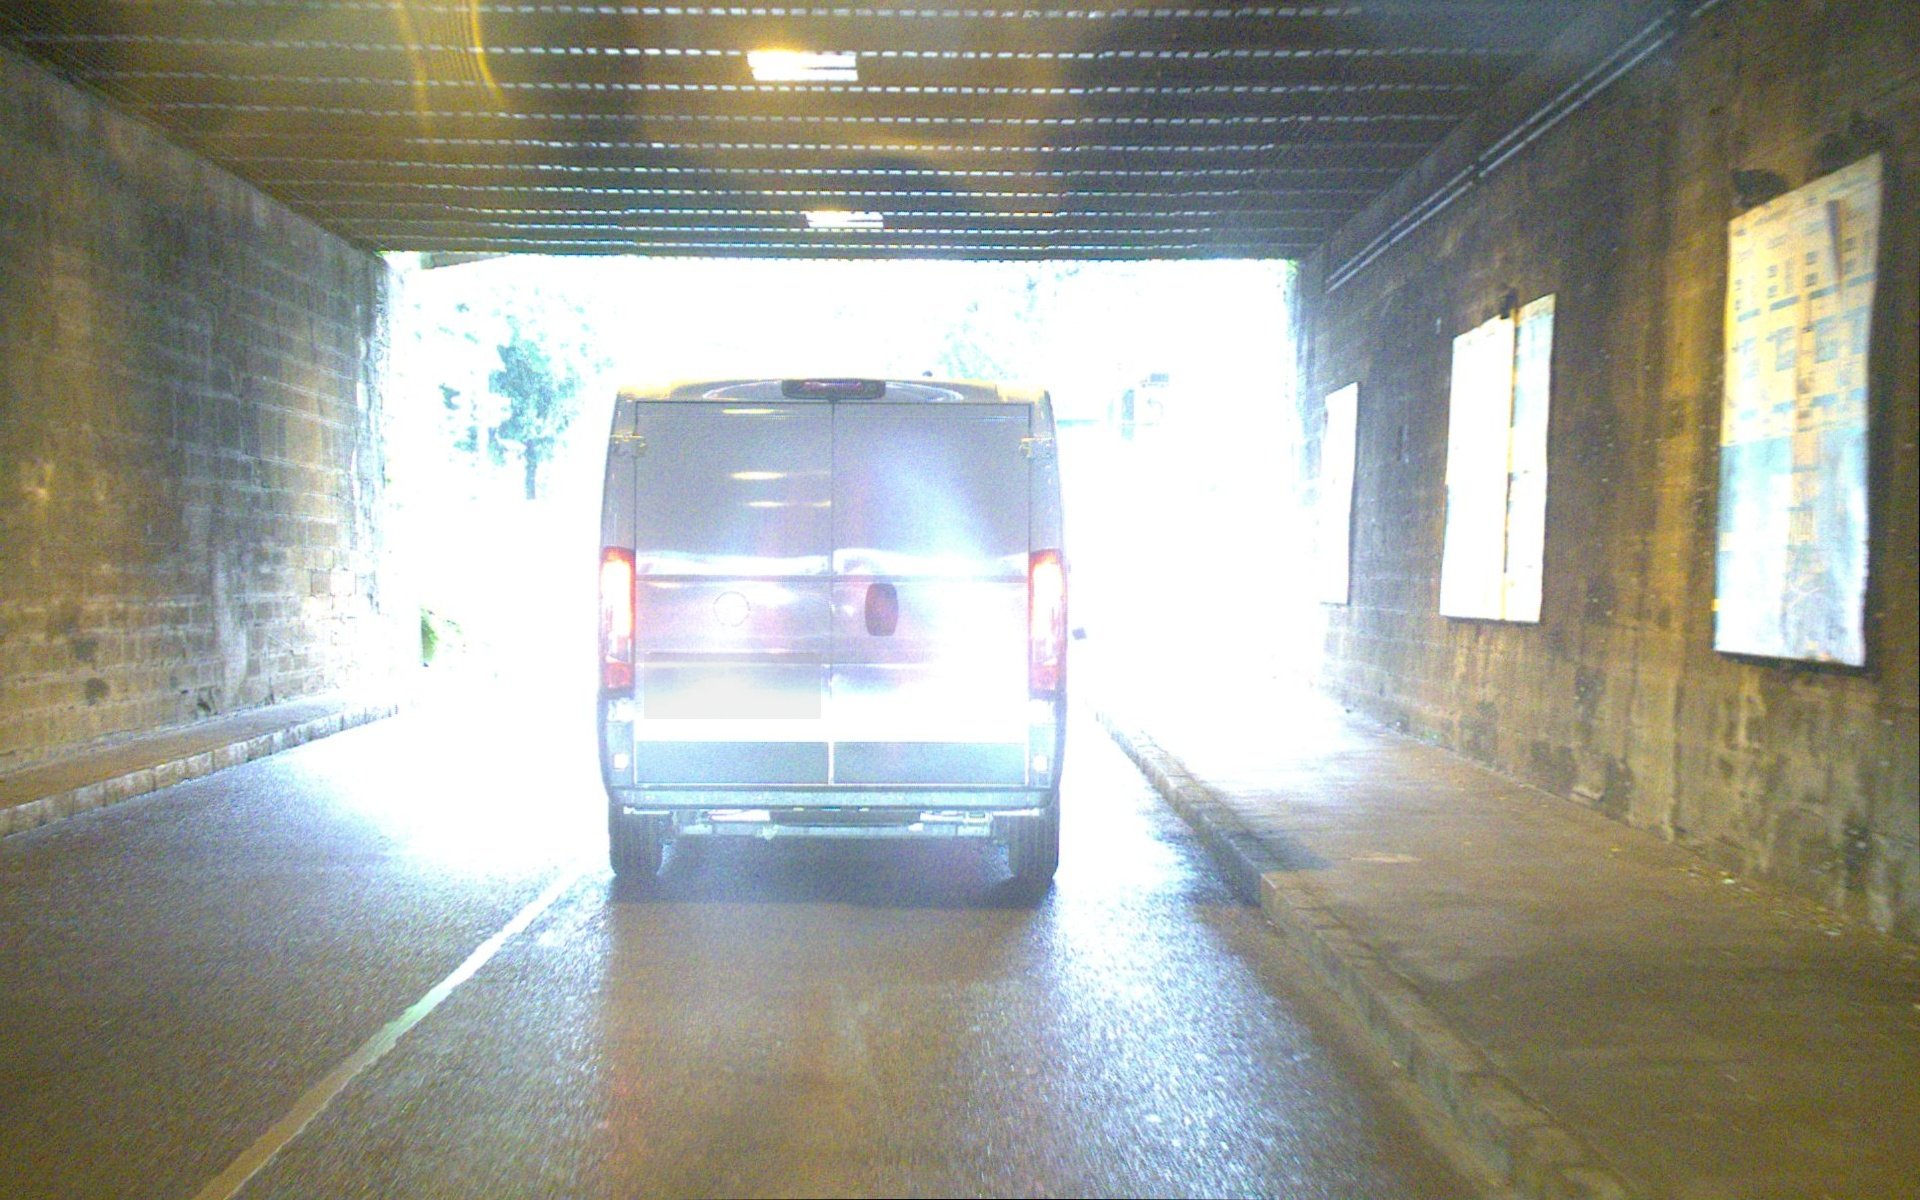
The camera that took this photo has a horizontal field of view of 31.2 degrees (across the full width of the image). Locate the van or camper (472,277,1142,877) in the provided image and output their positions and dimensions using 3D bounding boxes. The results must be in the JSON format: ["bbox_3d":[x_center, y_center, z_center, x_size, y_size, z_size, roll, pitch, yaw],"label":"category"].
[{"bbox_3d":[-0.704,-0.059,16.542,2.698,2.408,4.903,1,-1,-2],"label":"van or camper"}]

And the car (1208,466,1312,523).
[{"bbox_3d":[8.121,-2.848,93.334,1.993,1.481,4.001,1,1,-7],"label":"car"}]

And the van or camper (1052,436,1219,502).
[{"bbox_3d":[5.726,-4.268,111.807,5.309,2.007,2.078,1,1,6],"label":"van or camper"}]

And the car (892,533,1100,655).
[{"bbox_3d":[0.501,-0.091,42.592,1.837,1.433,4.101,1,1,11],"label":"car"}]

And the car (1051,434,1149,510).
[{"bbox_3d":[3.738,-3.429,92.656,1.993,1.941,4.001,1,1,-7],"label":"car"}]

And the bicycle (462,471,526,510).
[{"bbox_3d":[-14.132,-3.320,104.367,0.928,1.124,2.288,2,1,20],"label":"bicycle"}]
